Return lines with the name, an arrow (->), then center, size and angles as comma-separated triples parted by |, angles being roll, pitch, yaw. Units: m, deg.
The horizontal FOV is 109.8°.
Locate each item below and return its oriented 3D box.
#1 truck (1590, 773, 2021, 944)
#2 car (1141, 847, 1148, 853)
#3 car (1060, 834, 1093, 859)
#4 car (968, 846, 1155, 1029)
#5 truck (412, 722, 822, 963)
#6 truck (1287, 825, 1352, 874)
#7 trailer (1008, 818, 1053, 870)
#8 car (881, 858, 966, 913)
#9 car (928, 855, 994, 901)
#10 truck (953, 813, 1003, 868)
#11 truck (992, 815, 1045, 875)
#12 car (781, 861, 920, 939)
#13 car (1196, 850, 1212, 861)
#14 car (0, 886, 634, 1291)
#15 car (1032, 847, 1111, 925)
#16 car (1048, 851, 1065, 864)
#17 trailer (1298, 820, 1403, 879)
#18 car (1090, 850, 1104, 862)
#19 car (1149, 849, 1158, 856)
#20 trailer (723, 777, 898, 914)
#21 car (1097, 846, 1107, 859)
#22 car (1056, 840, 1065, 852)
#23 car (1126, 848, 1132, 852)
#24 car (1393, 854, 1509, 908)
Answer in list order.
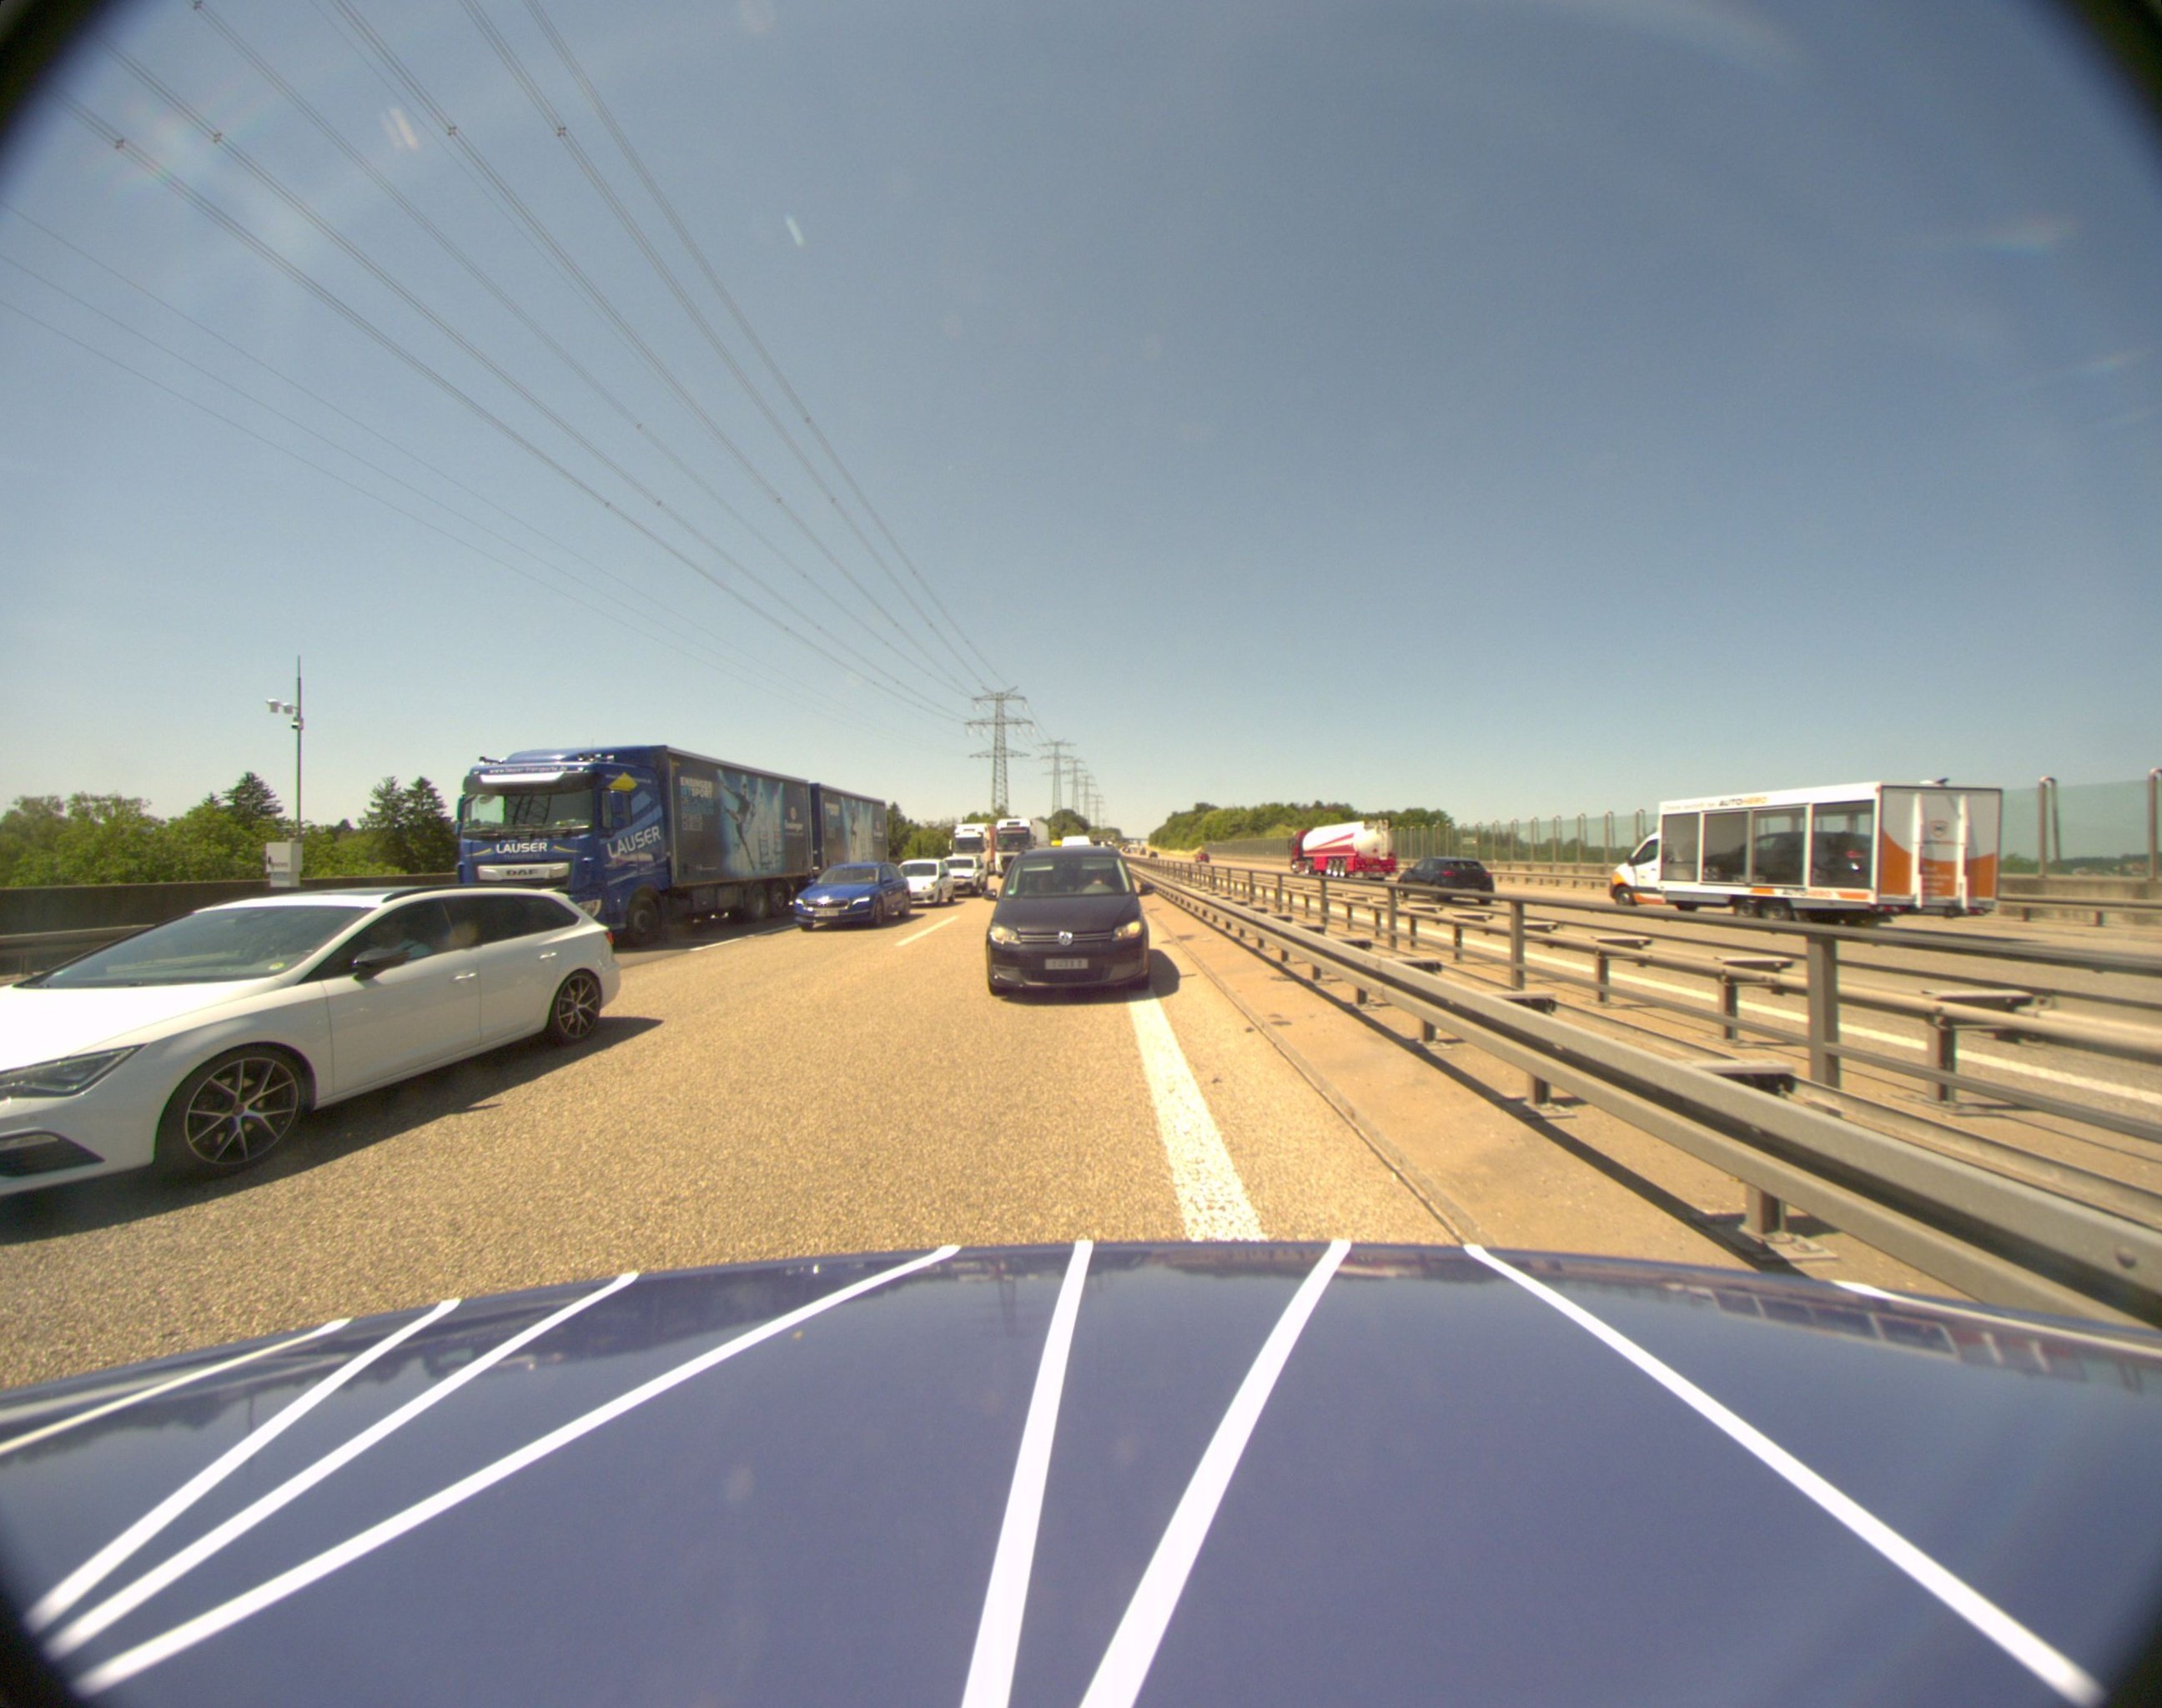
truck -> 16.480, 0.023, 18.536 | 2.569, 3.170, 8.293 | 2, 1, 1
car -> 19.087, -1.159, 227.520 | 1.832, 1.629, 4.000 | 2, 1, 1
car -> -0.250, -0.482, 48.634 | 1.924, 1.501, 3.996 | -2, 1, 2
car -> -0.156, 0.777, 9.199 | 1.712, 1.669, 3.931 | -2, 1, 1
truck -> -9.521, -0.258, 17.905 | 2.859, 3.927, 10.393 | -2, 1, 2
truck -> 17.374, -0.356, 55.759 | 2.915, 3.395, 6.294 | 1, 1, 2
trailer -> -4.003, -0.826, 62.160 | 2.822, 3.830, 9.083 | -2, 1, 1
car -> -4.953, 0.939, 24.410 | 1.712, 1.443, 4.144 | -2, 1, 2
car -> -4.544, 0.865, 29.389 | 1.712, 1.501, 4.144 | -2, 1, 2
truck -> -8.068, -1.046, 60.372 | 2.608, 3.965, 8.263 | -2, 1, 1
truck -> -4.246, -0.635, 53.442 | 2.849, 3.804, 8.263 | -2, 1, 1
car -> -5.264, 0.984, 18.029 | 1.712, 1.443, 4.563 | -2, 1, 2
car -> 18.122, 0.203, 111.799 | 1.786, 1.412, 4.000 | 2, 1, 1
car -> -5.190, 1.060, 5.068 | 1.713, 1.443, 4.429 | -2, 0, 0
car -> -0.186, 0.711, 19.219 | 1.712, 1.669, 3.931 | -2, 1, 1
car -> -3.035, 0.453, 94.793 | 1.924, 1.501, 3.996 | -2, 1, 2
trailer -> 17.133, -0.353, 49.459 | 2.883, 3.360, 12.006 | 1, 1, 2
car -> 2.098, 0.282, 98.235 | 1.704, 1.412, 4.000 | 2, 1, 1
car -> 15.818, -0.318, 165.347 | 1.704, 1.412, 4.000 | 2, 1, 1
trailer -> -9.253, -0.325, 27.406 | 2.835, 4.066, 8.637 | -2, 1, 1
car -> 3.603, -0.256, 129.947 | 1.704, 2.116, 4.000 | -2, 1, 1
car -> -4.738, -1.823, 173.780 | 1.704, 2.525, 4.000 | 2, 1, 1
car -> 16.478, -1.450, 261.206 | 1.704, 1.412, 4.000 | 2, 1, 1
car -> 11.526, 0.792, 23.994 | 1.802, 1.490, 3.851 | 0, 1, 1
